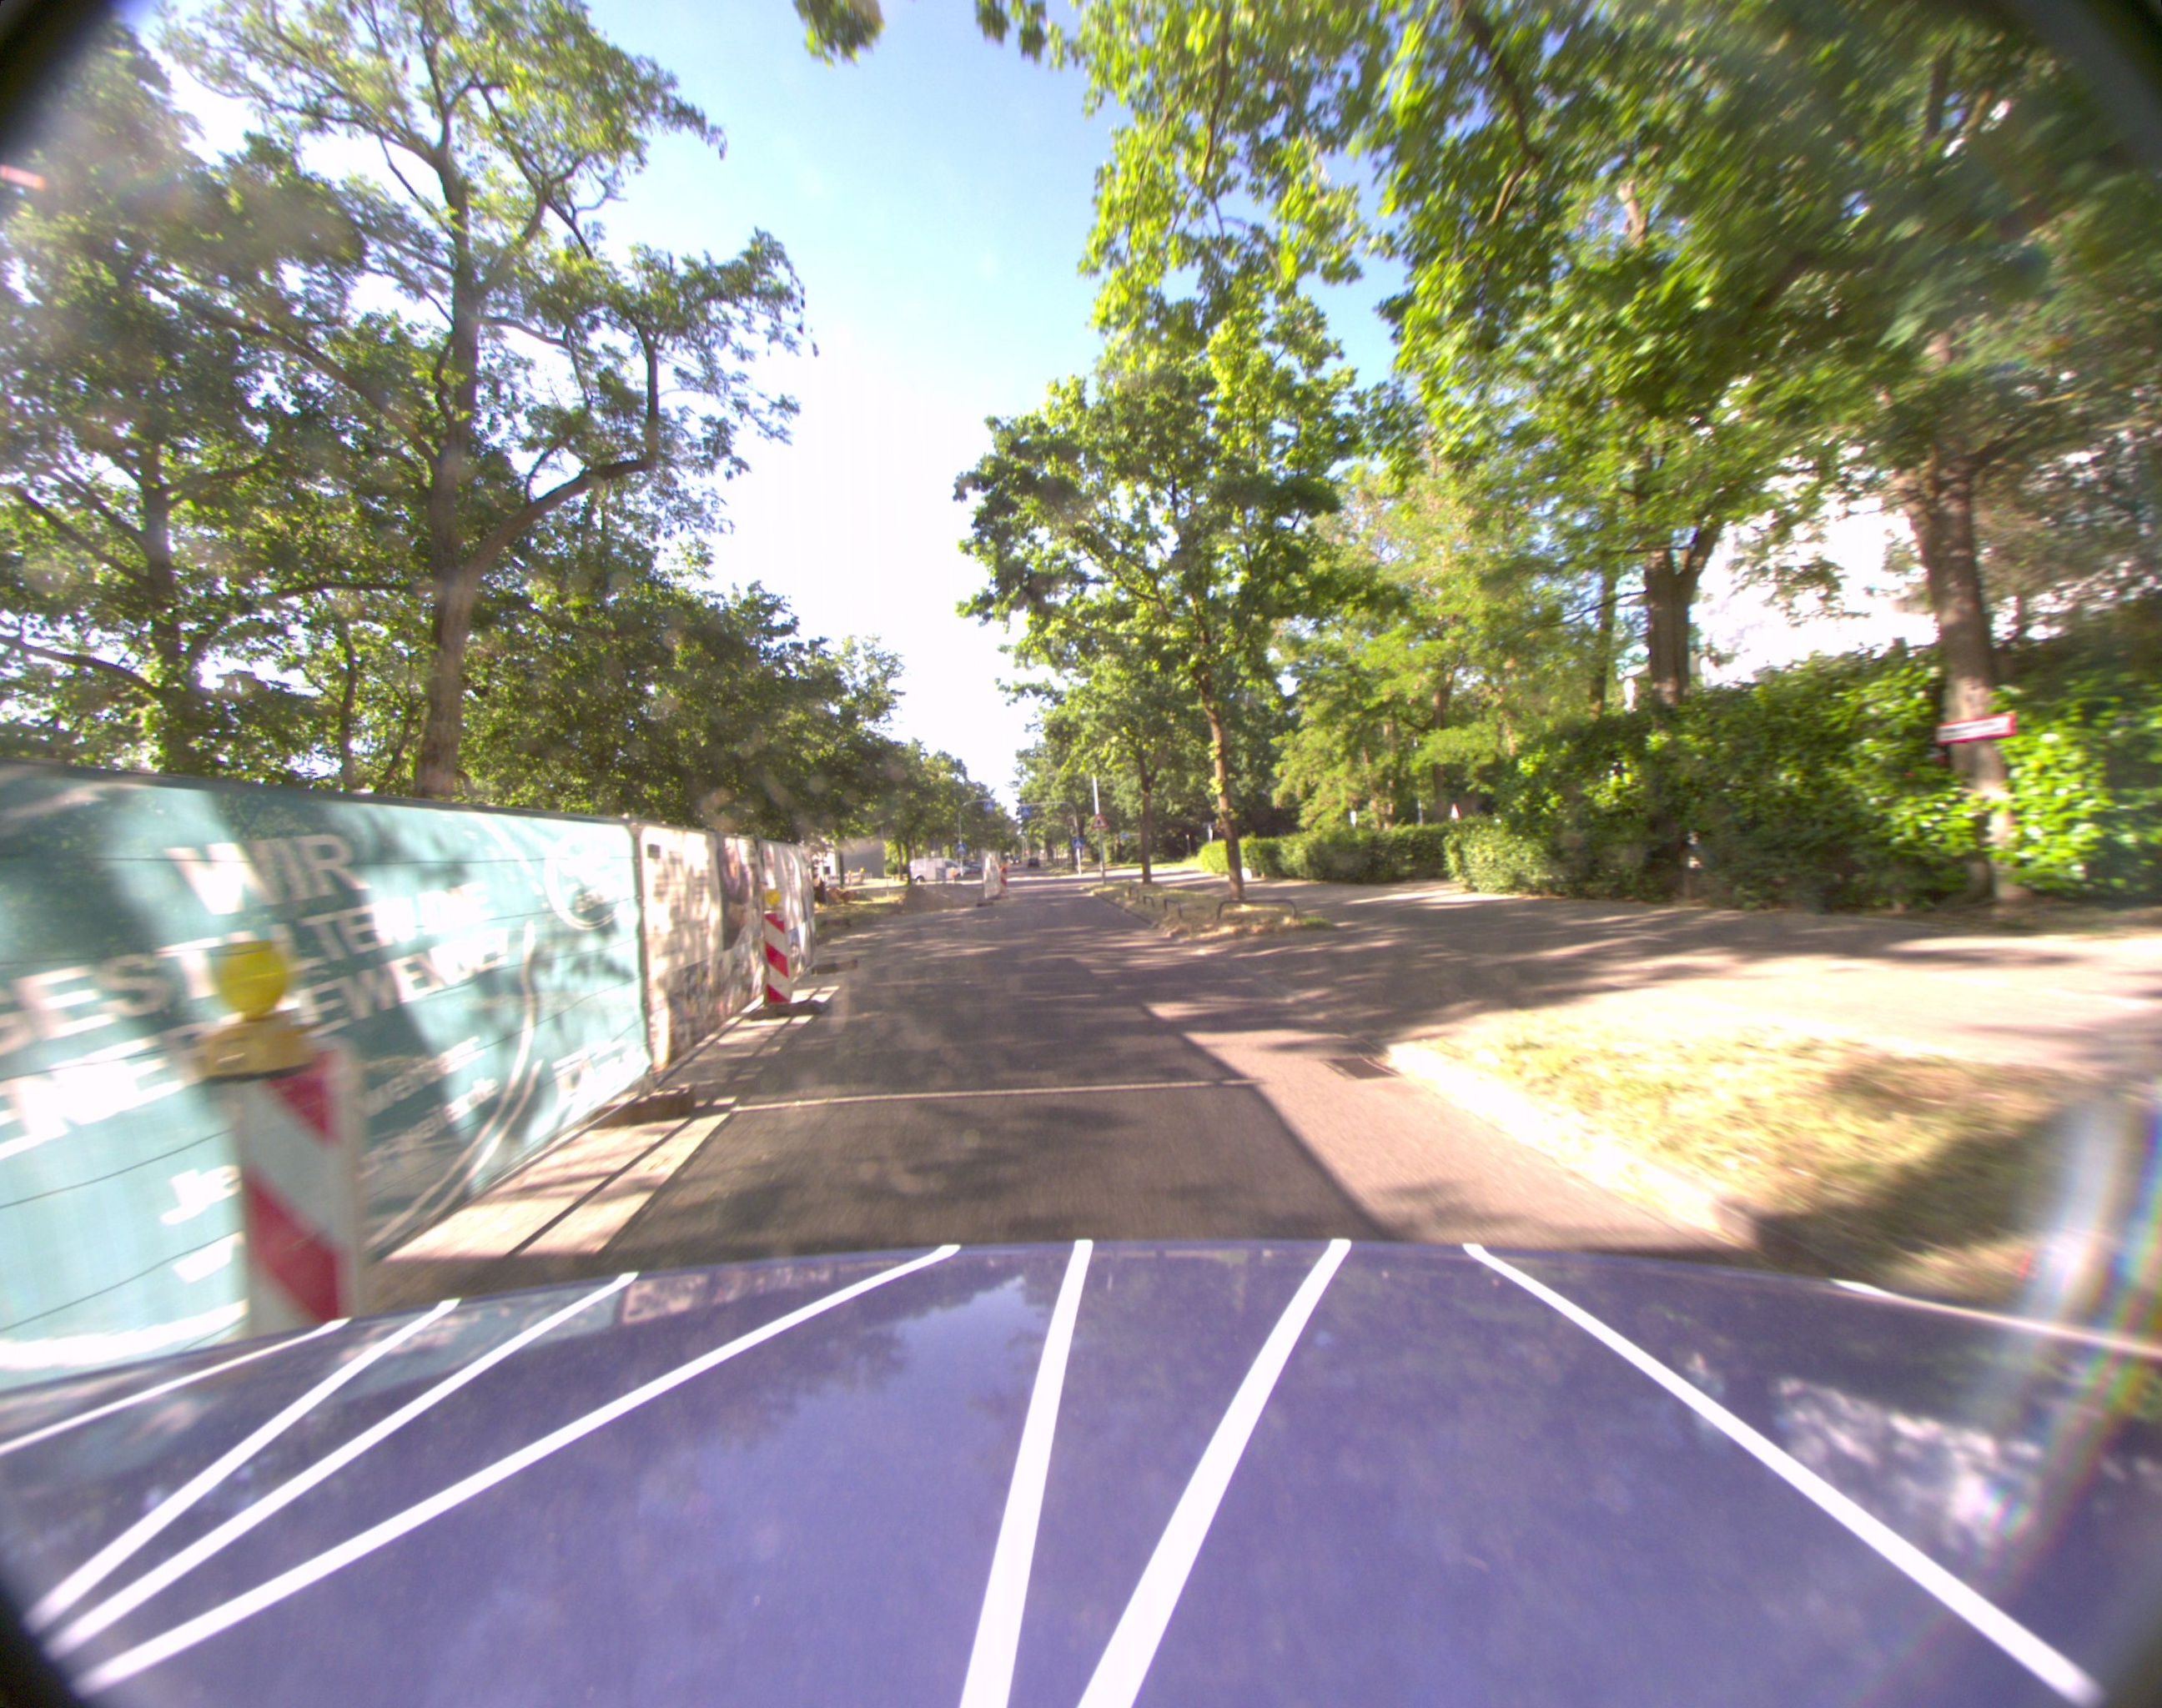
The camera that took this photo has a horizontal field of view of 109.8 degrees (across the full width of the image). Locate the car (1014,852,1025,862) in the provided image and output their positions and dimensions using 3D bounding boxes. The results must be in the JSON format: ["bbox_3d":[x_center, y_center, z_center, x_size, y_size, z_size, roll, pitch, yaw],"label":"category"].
[{"bbox_3d":[-13.429,0.639,165.799,1.999,1.871,3.999,-2,1,-2],"label":"car"}]

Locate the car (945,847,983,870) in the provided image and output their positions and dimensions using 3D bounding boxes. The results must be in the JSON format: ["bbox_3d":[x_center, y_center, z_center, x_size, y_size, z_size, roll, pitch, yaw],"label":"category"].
[{"bbox_3d":[-14.236,0.524,93.001,4.413,2.531,1.887,-3,0,-7],"label":"car"}]

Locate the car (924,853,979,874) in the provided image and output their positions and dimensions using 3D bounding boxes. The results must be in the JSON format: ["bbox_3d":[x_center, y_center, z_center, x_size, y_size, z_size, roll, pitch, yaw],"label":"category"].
[{"bbox_3d":[-13.677,0.993,80.763,5.585,1.993,1.999,-3,0,-7],"label":"car"}]

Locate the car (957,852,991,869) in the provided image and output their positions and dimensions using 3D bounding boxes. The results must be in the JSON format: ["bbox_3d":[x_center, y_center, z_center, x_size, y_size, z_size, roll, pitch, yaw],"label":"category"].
[{"bbox_3d":[-13.837,0.852,98.297,4.246,1.993,1.565,-3,0,-7],"label":"car"}]

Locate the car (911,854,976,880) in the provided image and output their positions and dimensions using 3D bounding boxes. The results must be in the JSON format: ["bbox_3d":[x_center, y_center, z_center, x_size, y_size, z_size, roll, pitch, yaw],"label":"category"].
[{"bbox_3d":[-11.810,1.097,65.684,5.271,1.993,1.999,-3,0,-5],"label":"car"}]

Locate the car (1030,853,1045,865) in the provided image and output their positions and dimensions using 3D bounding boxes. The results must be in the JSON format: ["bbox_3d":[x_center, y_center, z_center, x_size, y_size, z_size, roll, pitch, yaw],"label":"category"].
[{"bbox_3d":[-6.769,0.758,118.578,1.999,1.805,3.999,-5,0,-1],"label":"car"}]
